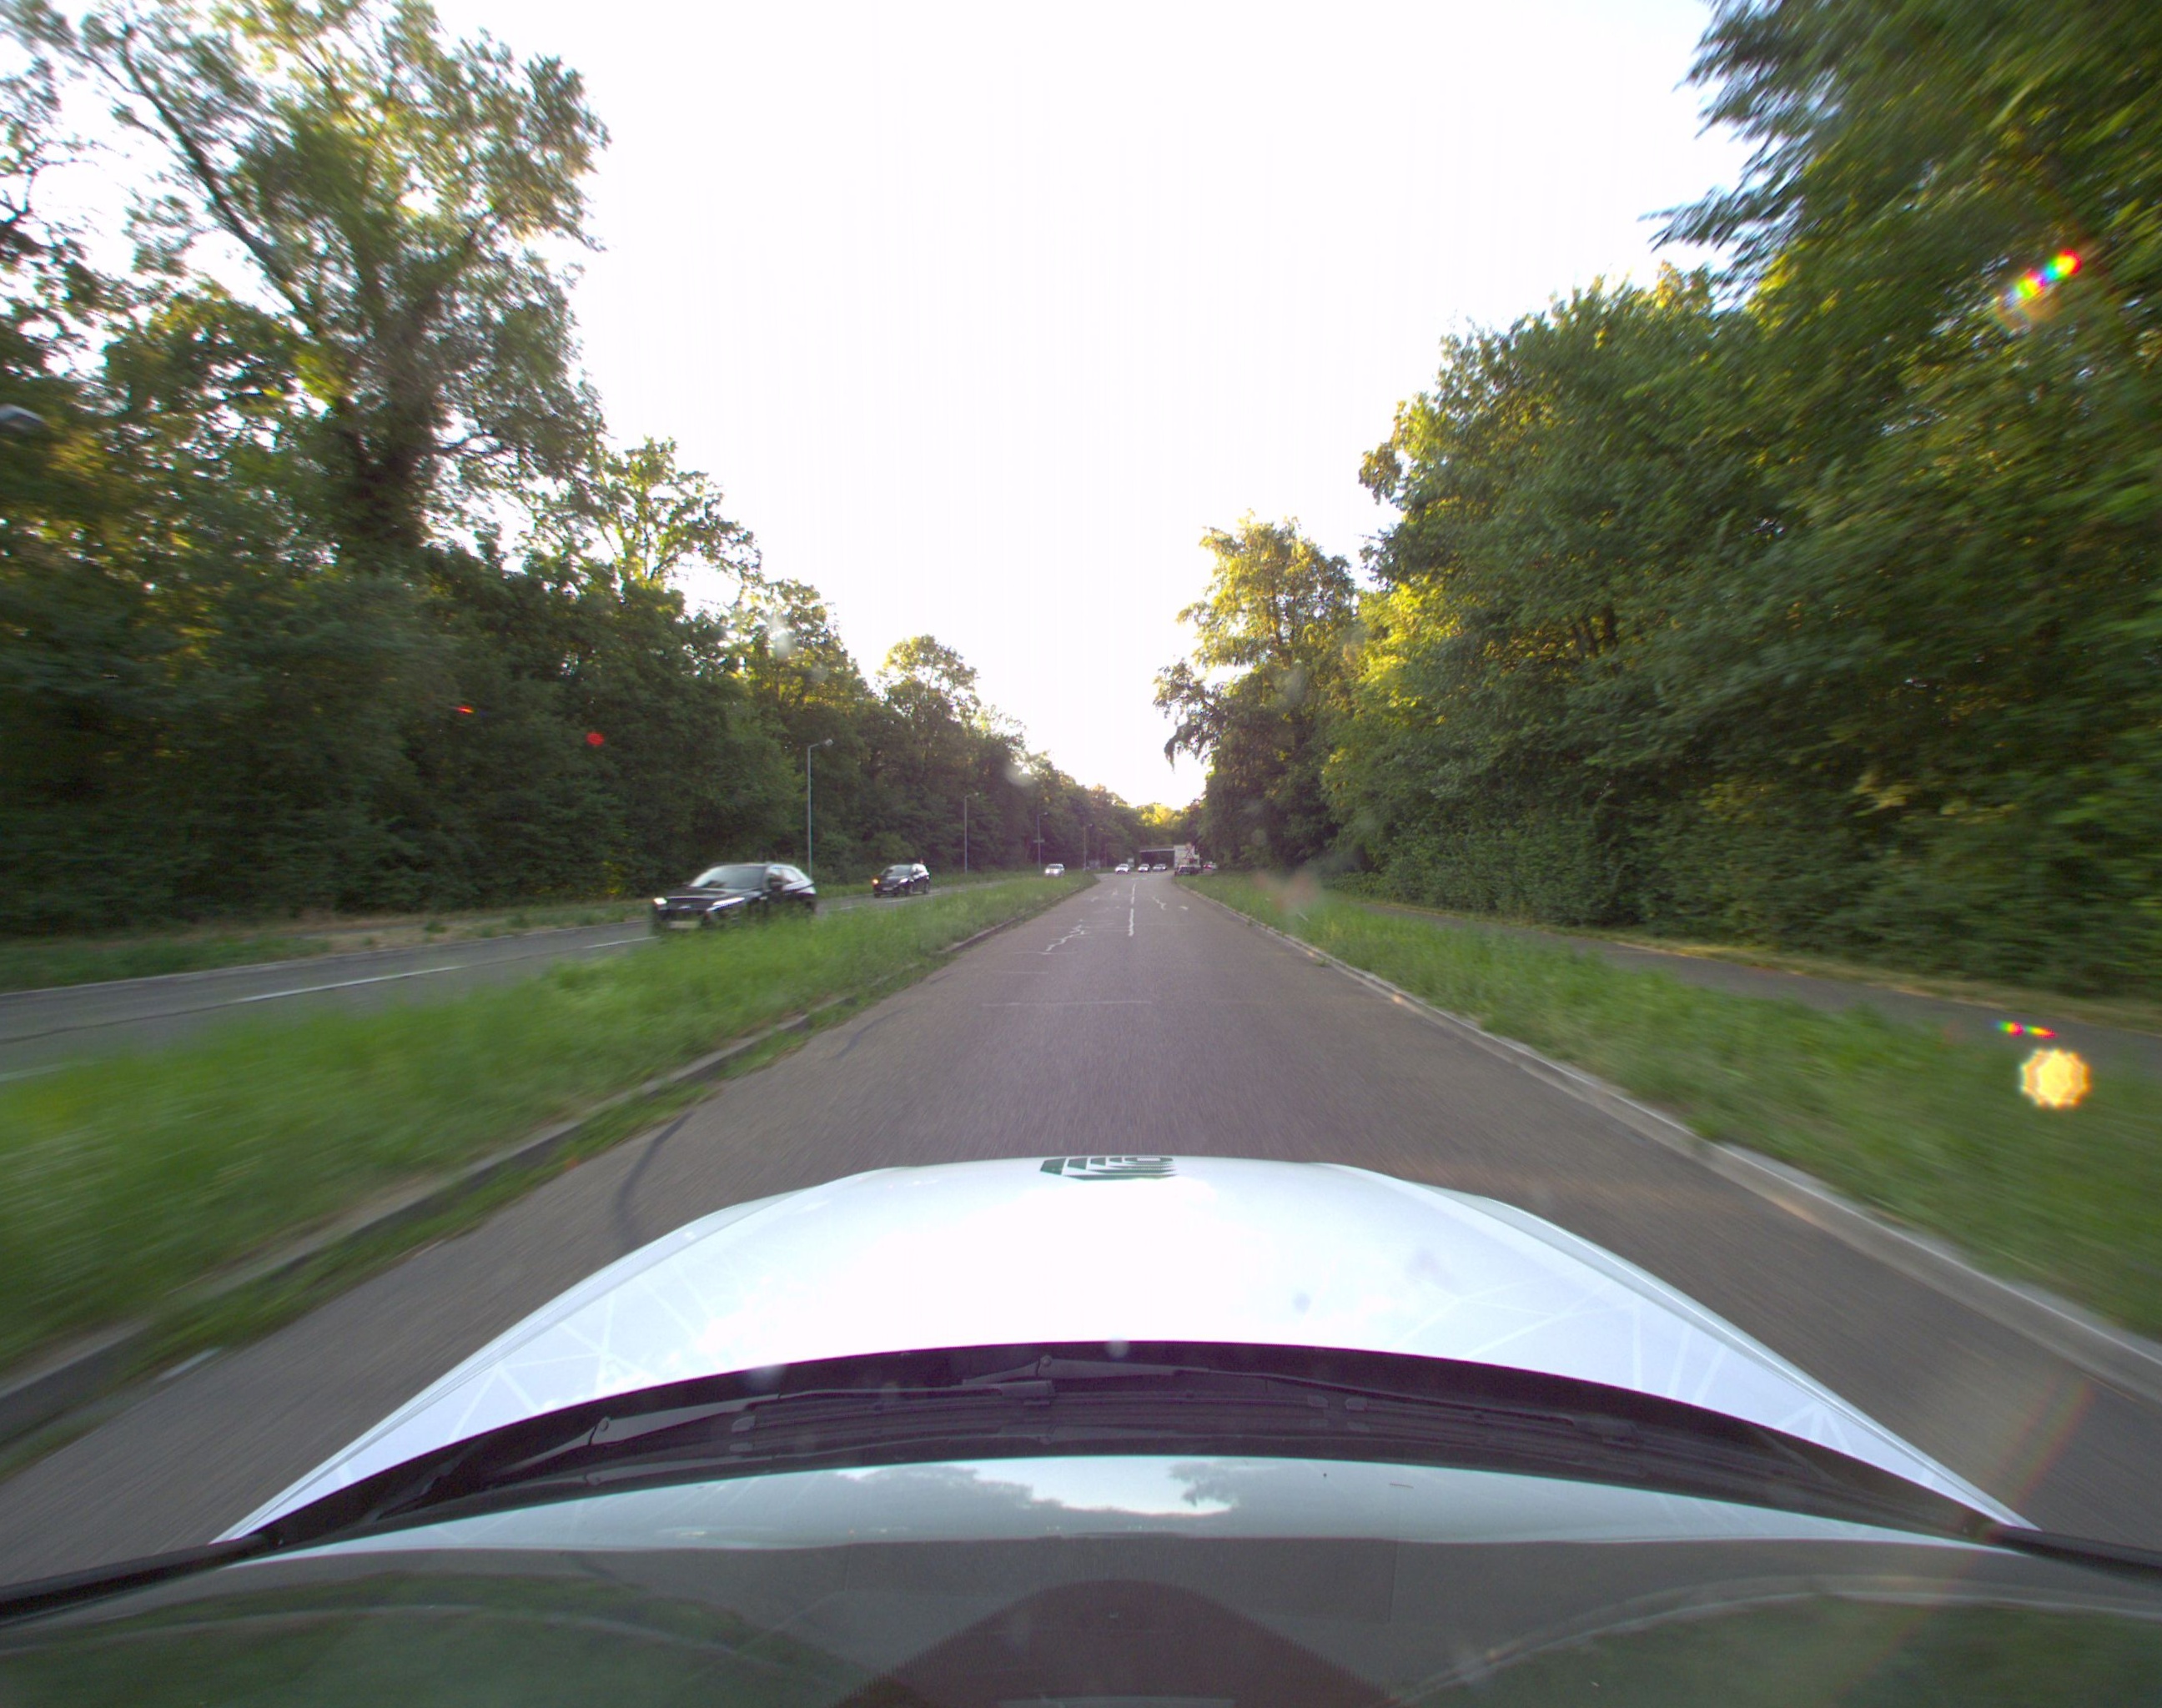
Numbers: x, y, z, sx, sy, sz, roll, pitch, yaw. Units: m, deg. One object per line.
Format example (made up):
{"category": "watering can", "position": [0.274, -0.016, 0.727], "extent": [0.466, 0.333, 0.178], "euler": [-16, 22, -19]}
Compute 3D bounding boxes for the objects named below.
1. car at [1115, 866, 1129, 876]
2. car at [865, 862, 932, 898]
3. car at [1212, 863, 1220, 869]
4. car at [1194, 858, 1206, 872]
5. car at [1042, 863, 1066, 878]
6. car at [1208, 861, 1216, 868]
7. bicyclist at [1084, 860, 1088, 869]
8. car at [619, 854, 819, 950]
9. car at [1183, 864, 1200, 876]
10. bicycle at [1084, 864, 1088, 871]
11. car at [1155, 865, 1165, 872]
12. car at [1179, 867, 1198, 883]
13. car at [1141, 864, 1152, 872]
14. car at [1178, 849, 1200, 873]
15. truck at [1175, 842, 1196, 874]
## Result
{"category": "car", "position": [6.131, 2.553, 121.940], "extent": [1.826, 1.507, 3.945], "euler": [-1, -3, 7]}
{"category": "car", "position": [-9.061, 1.285, 40.904], "extent": [1.985, 1.627, 4.656], "euler": [-2, -1, 4]}
{"category": "car", "position": [33.600, 2.861, 202.064], "extent": [1.880, 1.447, 4.121], "euler": [-1, -1, 10]}
{"category": "car", "position": [22.975, 2.110, 157.459], "extent": [1.981, 2.410, 5.840], "euler": [-1, -3, 11]}
{"category": "car", "position": [-2.878, 1.767, 86.817], "extent": [1.983, 1.458, 3.816], "euler": [-1, -3, 6]}
{"category": "car", "position": [36.663, 2.960, 227.872], "extent": [1.981, 1.838, 4.011], "euler": [-1, -1, 10]}
{"category": "bicyclist", "position": [0.865, 1.851, 139.751], "extent": [0.618, 1.511, 0.847], "euler": [-1, 0, 0]}
{"category": "car", "position": [-7.107, 0.885, 16.590], "extent": [1.806, 1.627, 4.455], "euler": [-2, -1, 4]}
{"category": "car", "position": [12.672, 1.817, 93.550], "extent": [1.690, 1.406, 4.081], "euler": [0, -1, 5]}
{"category": "bicycle", "position": [0.875, 2.302, 139.779], "extent": [0.628, 1.217, 2.261], "euler": [-1, -1, 0]}
{"category": "car", "position": [15.684, 2.885, 162.025], "extent": [1.710, 1.397, 4.385], "euler": [0, -1, 9]}
{"category": "car", "position": [9.734, 1.895, 73.805], "extent": [1.655, 1.405, 3.949], "euler": [2, -1, 7]}
{"category": "car", "position": [11.772, 2.591, 147.191], "extent": [1.706, 1.446, 4.182], "euler": [-1, -1, 8]}
{"category": "car", "position": [13.194, 0.877, 99.830], "extent": [2.397, 2.858, 5.939], "euler": [0, -1, 5]}
{"category": "truck", "position": [13.945, 0.584, 108.201], "extent": [2.642, 4.028, 9.744], "euler": [0, -1, 8]}
